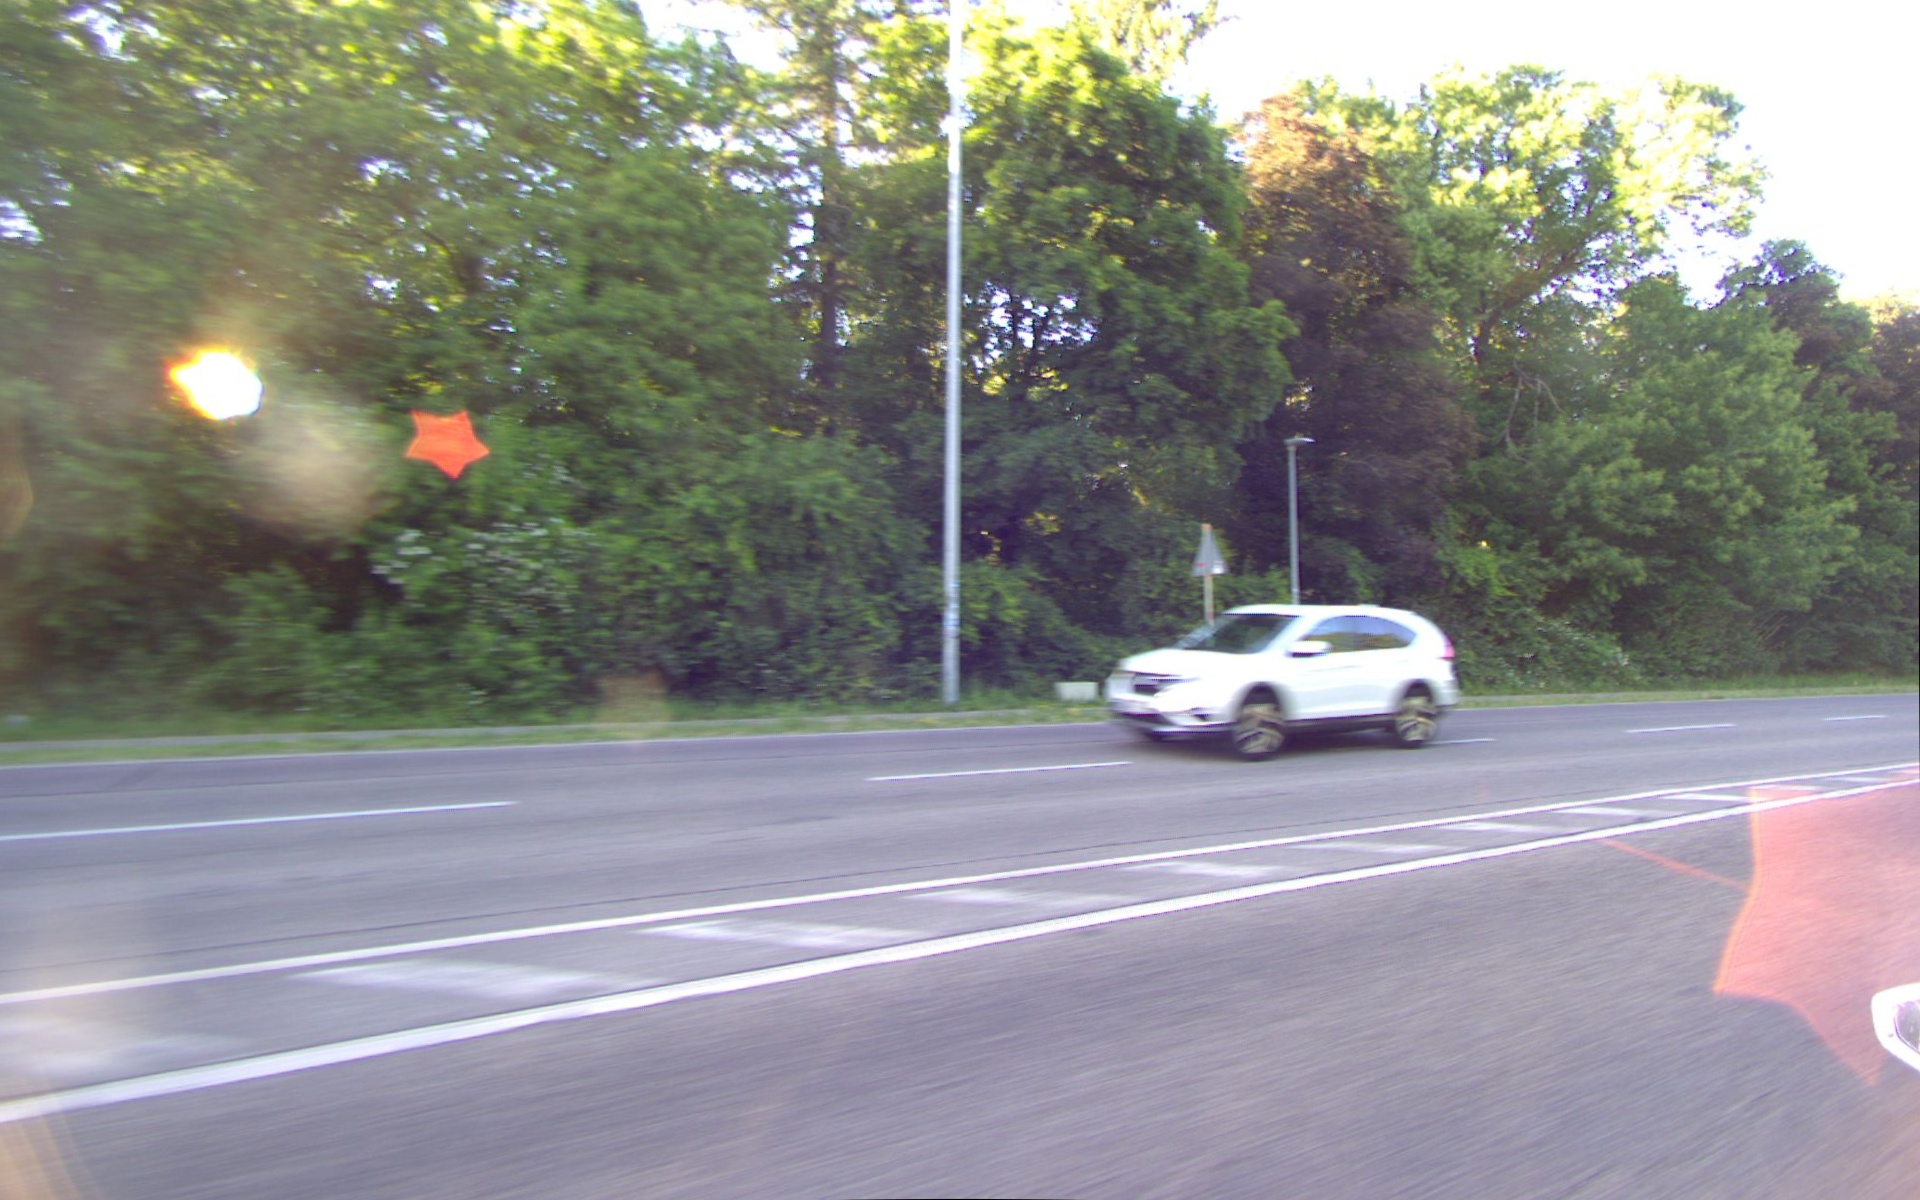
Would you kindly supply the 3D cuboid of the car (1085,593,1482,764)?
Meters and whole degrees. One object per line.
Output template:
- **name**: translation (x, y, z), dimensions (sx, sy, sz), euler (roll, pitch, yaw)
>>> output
- **car**: translation (3.927, 0.836, 11.939), dimensions (4.680, 1.686, 1.898), euler (2, -1, -31)
